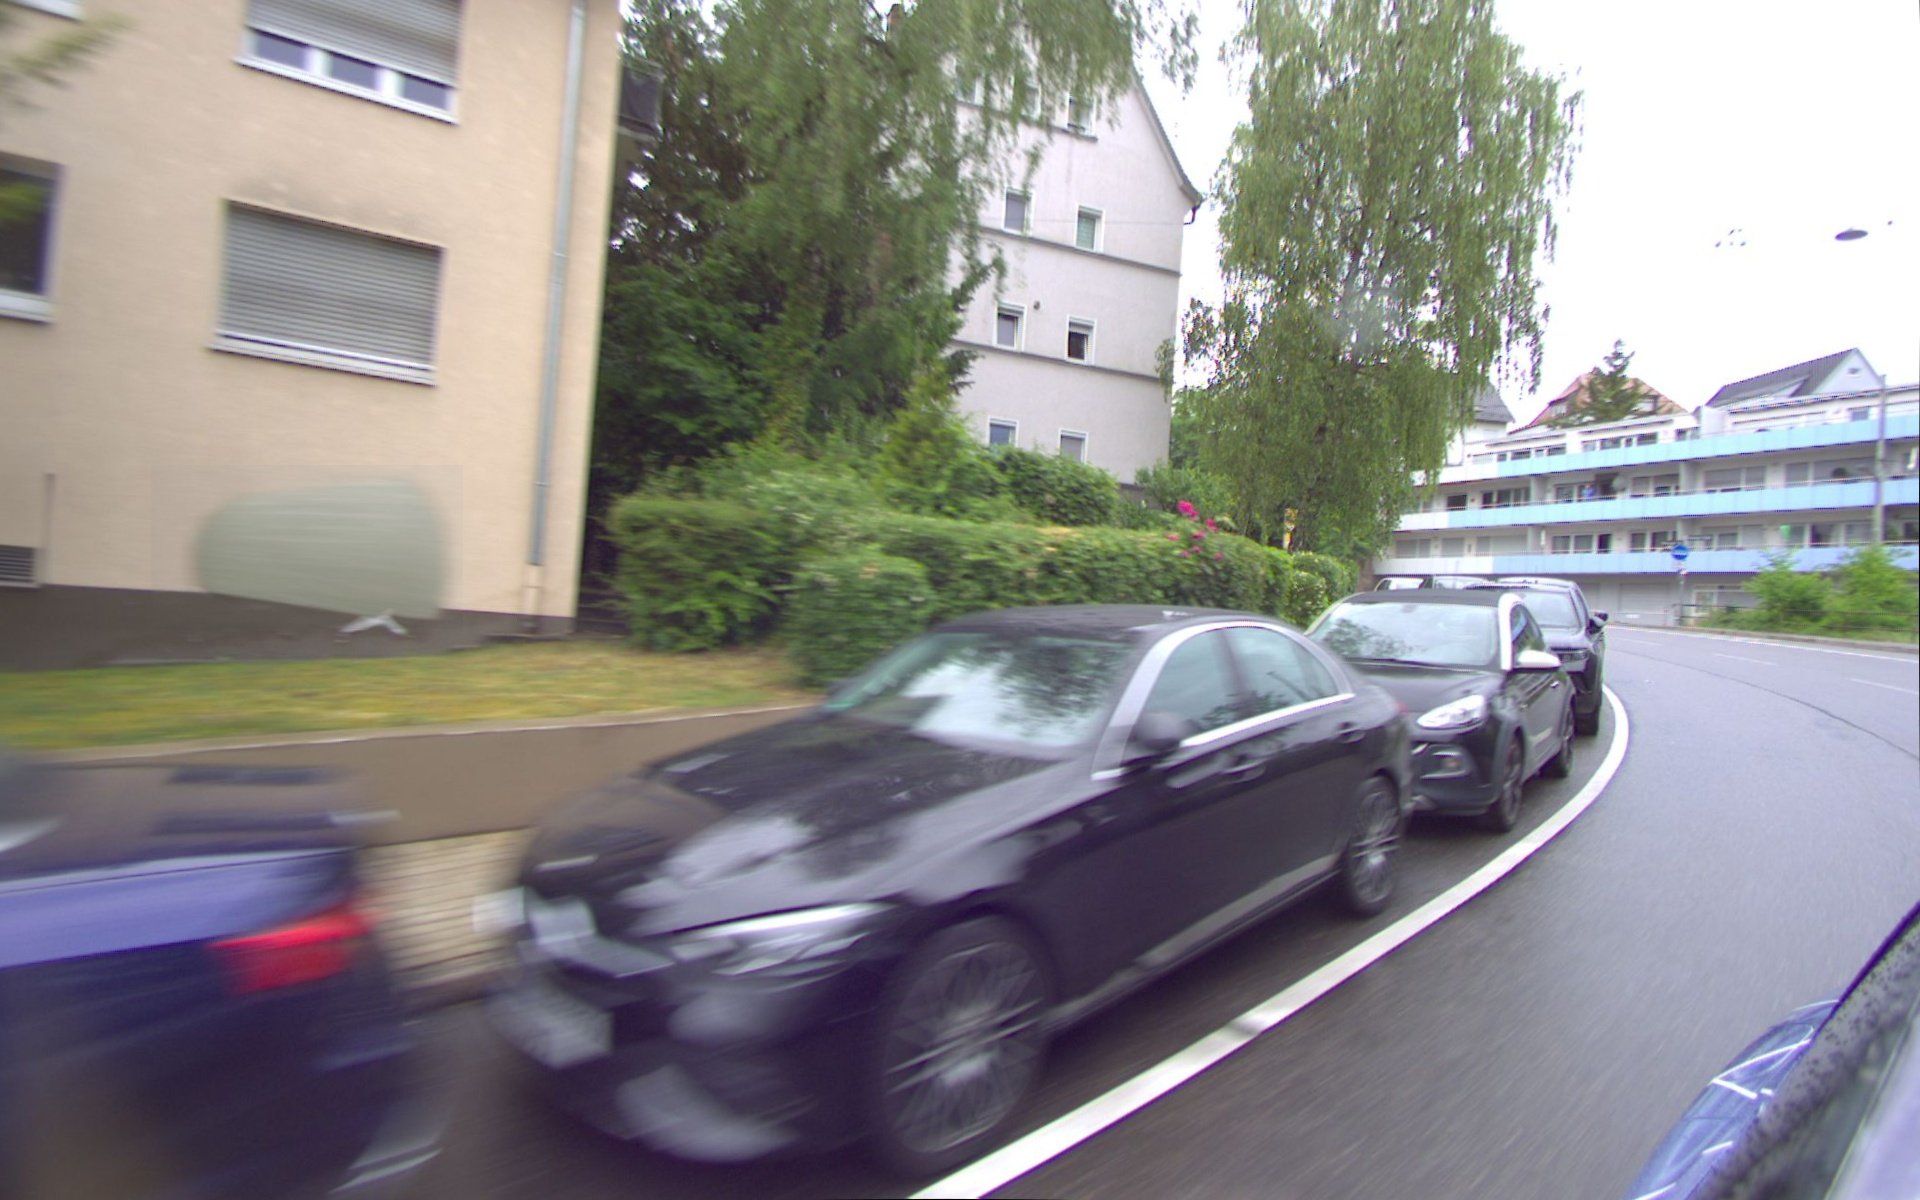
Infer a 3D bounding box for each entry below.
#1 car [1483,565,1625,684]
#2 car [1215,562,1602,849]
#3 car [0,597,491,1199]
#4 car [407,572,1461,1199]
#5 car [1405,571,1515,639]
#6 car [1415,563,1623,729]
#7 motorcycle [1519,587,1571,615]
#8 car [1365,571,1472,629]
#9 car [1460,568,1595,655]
[{"bbox_3d":[9.239,0.296,15.955,1.611,1.523,3.570,6,4,28],"label":"car"},{"bbox_3d":[3.533,0.569,7.595,1.680,1.489,3.686,7,4,38],"label":"car"},{"bbox_3d":[-3.218,0.729,1.197,4.535,1.364,1.813,0,3,-38],"label":"car"},{"bbox_3d":[0.386,0.679,4.288,1.808,1.453,4.459,5,4,44],"label":"car"},{"bbox_3d":[12.693,0.055,25.943,1.606,1.537,4.308,3,2,15],"label":"car"},{"bbox_3d":[6.607,0.404,11.757,1.710,1.452,4.020,6,4,33],"label":"car"},{"bbox_3d":[32.586,0.054,56.419,0.564,1.325,2.333,1,5,-42],"label":"motorcycle"},{"bbox_3d":[13.553,-0.062,30.160,1.766,1.463,4.098,2,3,8],"label":"car"},{"bbox_3d":[11.526,0.144,20.820,1.712,1.481,4.004,5,3,21],"label":"car"}]
